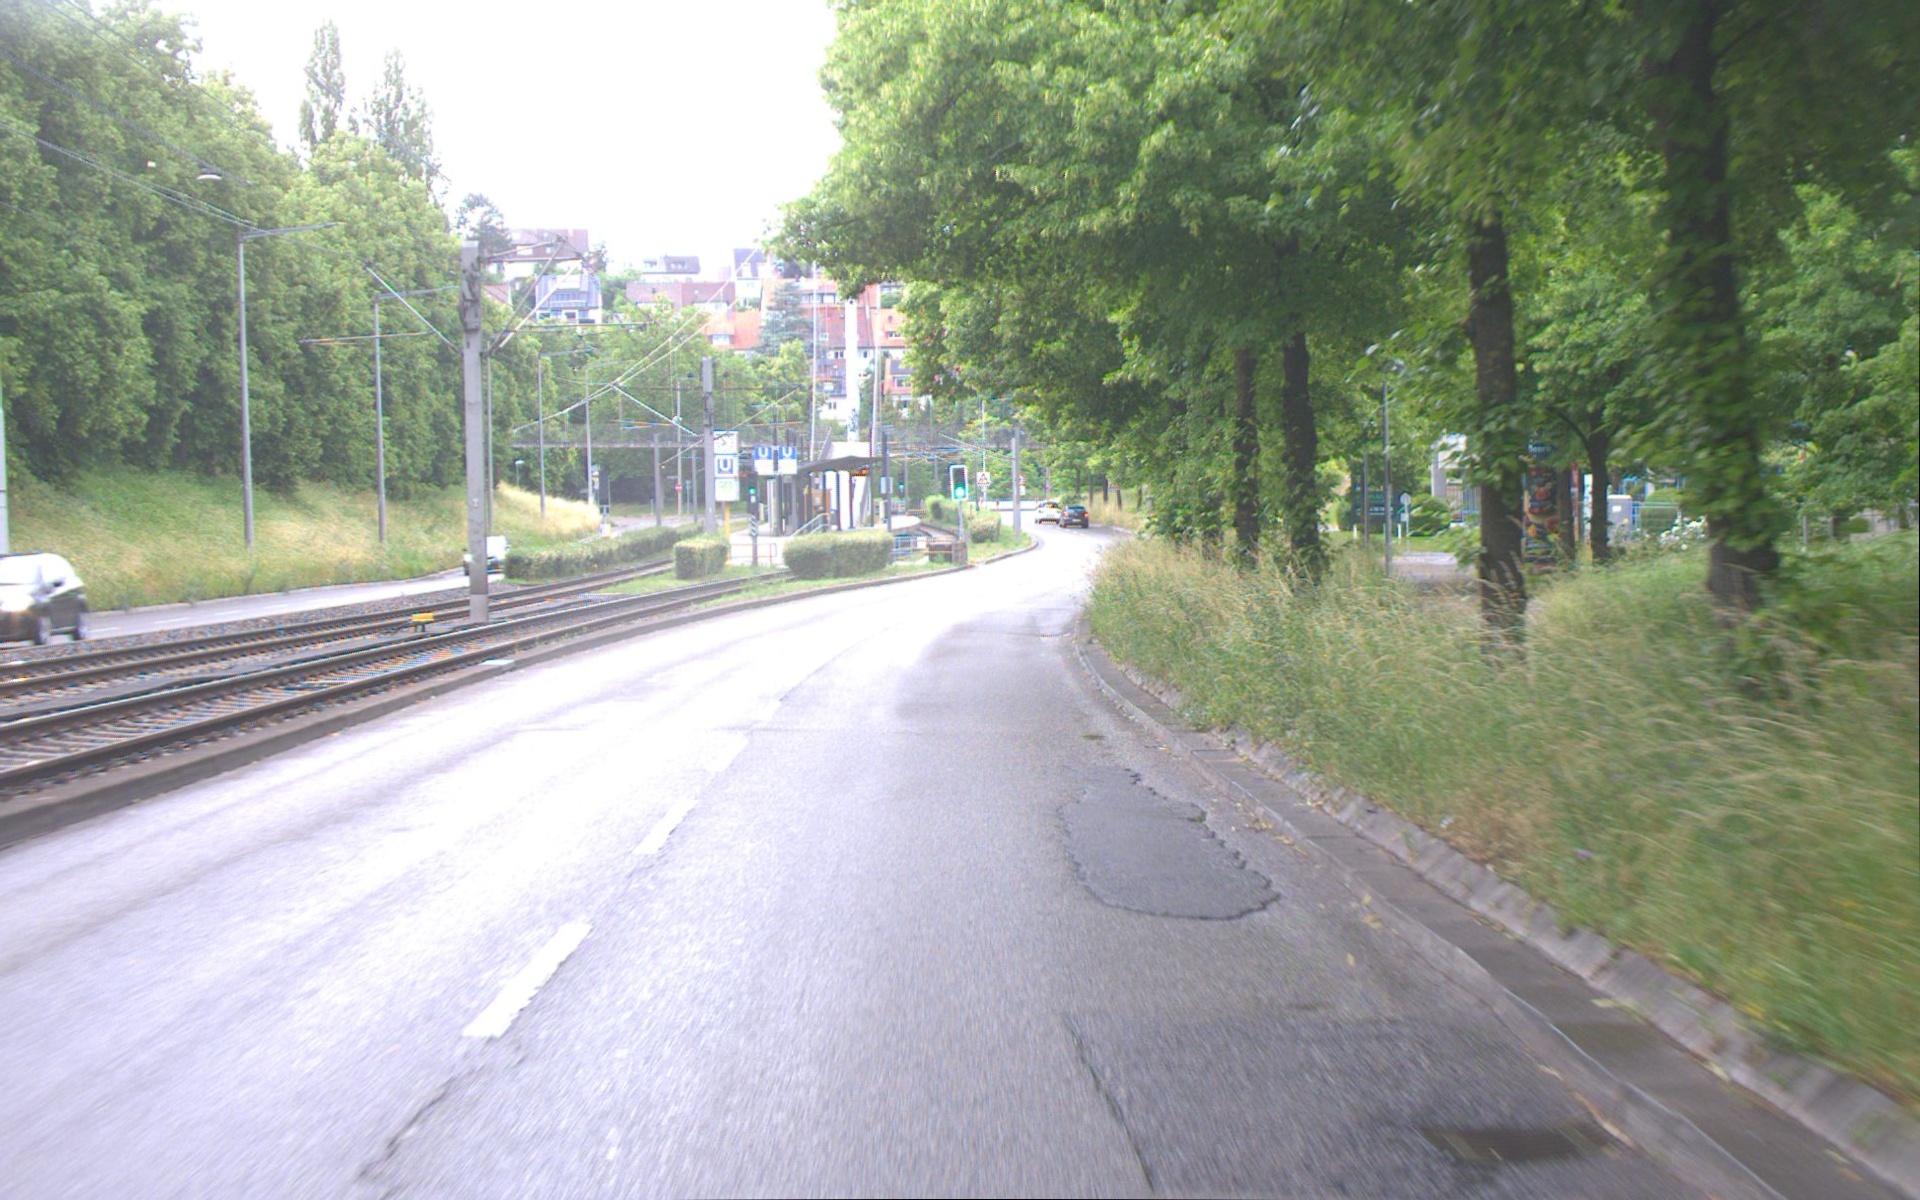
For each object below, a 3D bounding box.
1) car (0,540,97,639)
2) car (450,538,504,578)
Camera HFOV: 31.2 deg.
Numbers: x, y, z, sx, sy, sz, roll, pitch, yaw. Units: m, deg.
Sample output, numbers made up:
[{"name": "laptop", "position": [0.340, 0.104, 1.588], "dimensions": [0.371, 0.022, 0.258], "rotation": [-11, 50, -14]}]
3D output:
[{"name": "car", "position": [-14.563, -0.160, 52.678], "dimensions": [1.669, 1.438, 4.027], "rotation": [-3, 1, -1]}, {"name": "car", "position": [-19.734, -1.736, 140.612], "dimensions": [1.784, 1.546, 3.962], "rotation": [-2, 1, -3]}]
